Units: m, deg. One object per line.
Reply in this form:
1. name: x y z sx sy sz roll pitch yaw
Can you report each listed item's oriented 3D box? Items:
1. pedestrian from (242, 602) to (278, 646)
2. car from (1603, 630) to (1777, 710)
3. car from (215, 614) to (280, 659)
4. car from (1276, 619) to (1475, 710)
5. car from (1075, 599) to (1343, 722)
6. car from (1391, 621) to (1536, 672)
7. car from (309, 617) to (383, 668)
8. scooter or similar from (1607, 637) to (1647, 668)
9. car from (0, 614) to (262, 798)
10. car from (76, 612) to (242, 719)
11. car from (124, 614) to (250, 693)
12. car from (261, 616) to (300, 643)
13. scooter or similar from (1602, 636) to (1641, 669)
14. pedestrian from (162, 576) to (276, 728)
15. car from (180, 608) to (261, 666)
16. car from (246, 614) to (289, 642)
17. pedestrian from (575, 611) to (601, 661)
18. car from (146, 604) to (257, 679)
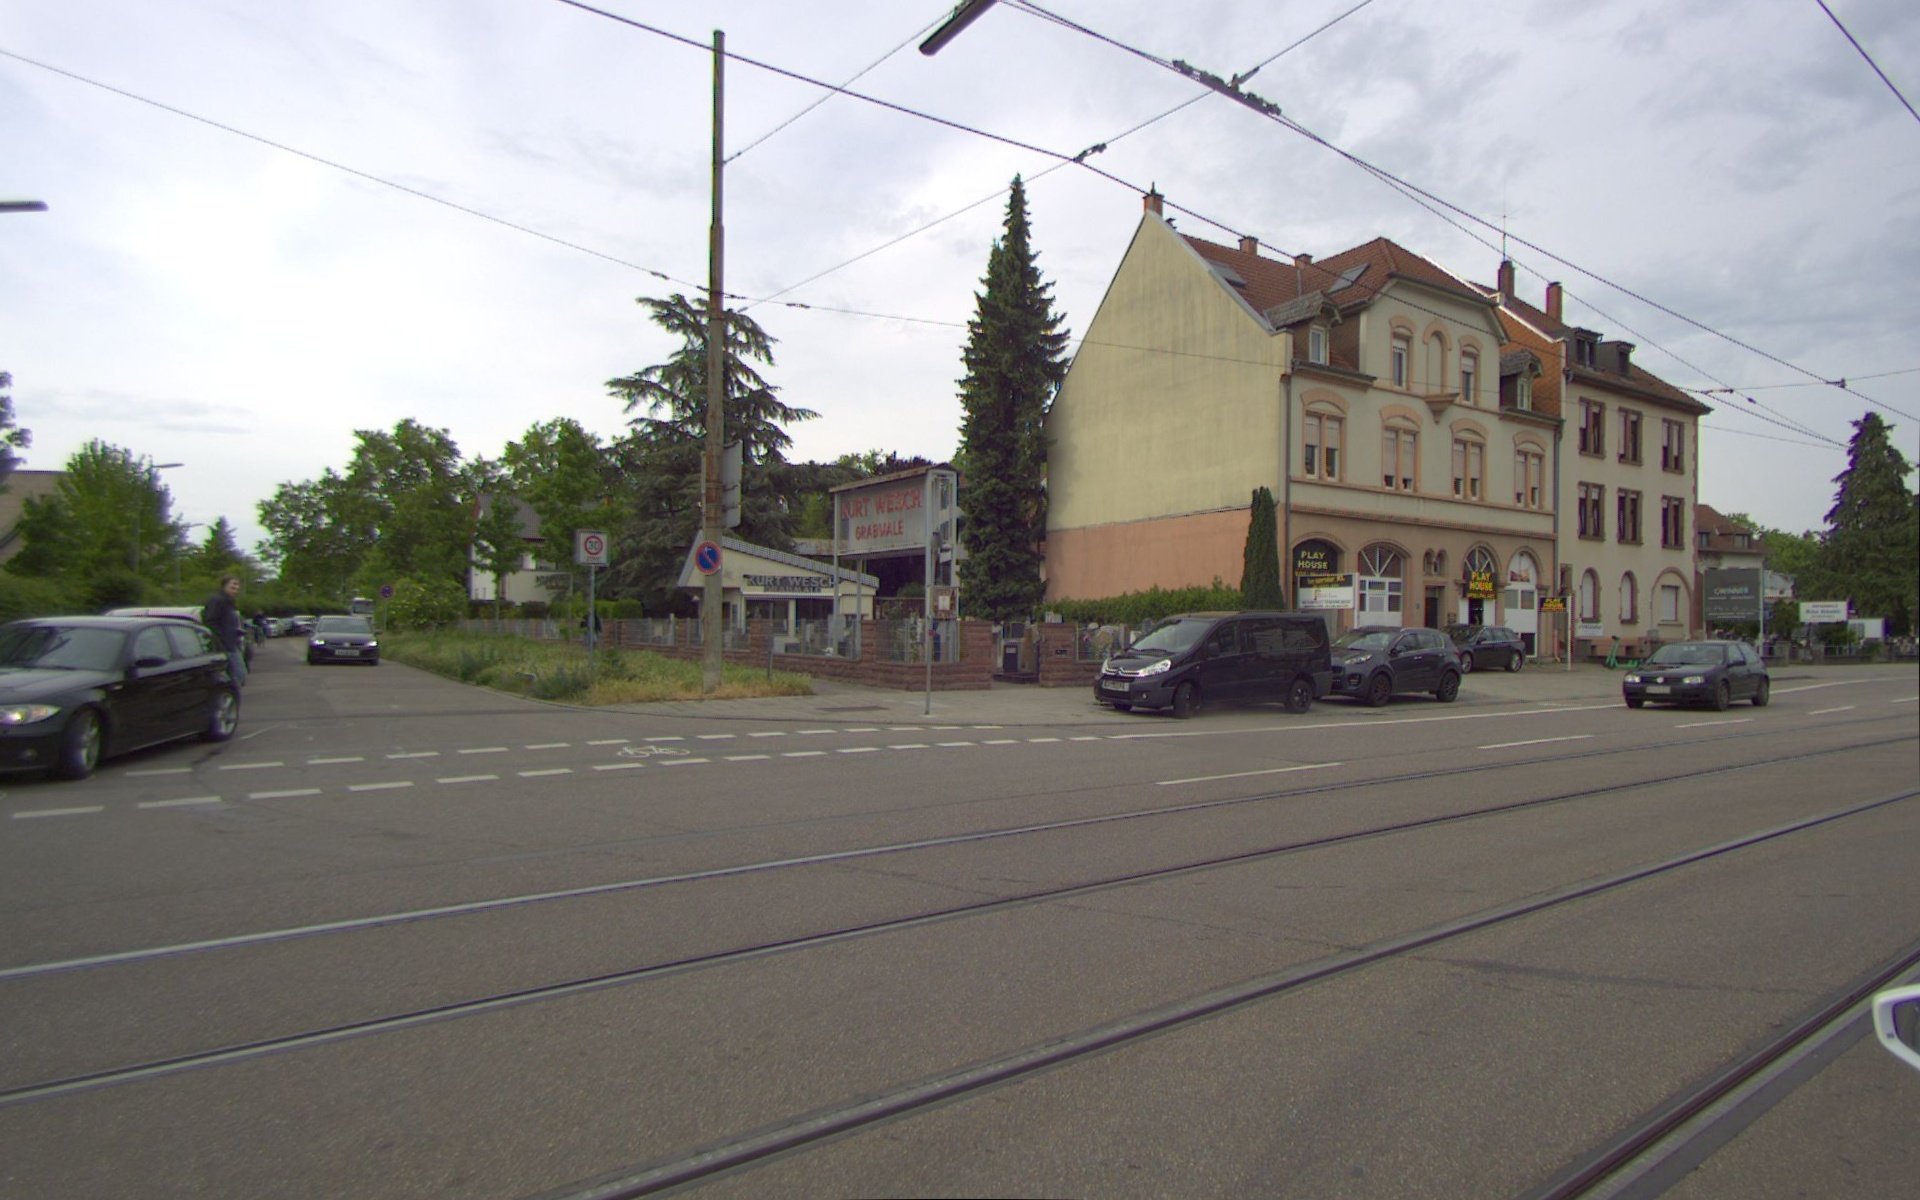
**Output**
1. pedestrian: -33.319 1.146 47.823 1.199 2.040 1.182 -1 -2 43
2. car: 15.612 1.456 21.428 4.100 1.550 1.779 2 -4 -35
3. car: -27.383 1.392 38.698 1.861 1.582 3.963 2 -1 -33
4. car: 9.400 1.362 22.612 4.489 1.773 2.024 1 1 -35
5. car: 4.811 1.091 19.097 5.130 2.040 1.975 2 0 -33
6. car: 16.250 1.487 32.344 4.849 1.512 1.982 2 -1 -33
7. car: -18.682 1.266 30.630 1.796 1.470 3.954 2 -2 -31
8. scooter or similar: 24.767 1.937 37.311 1.157 1.116 0.527 1 -1 29
9. car: -8.704 0.866 9.774 1.758 1.387 4.101 2 -1 -14
10. car: -12.604 0.932 16.035 1.707 1.441 3.982 -1 0 -34
11. car: -15.201 0.990 19.927 1.762 1.367 4.008 2 -1 -35
12. car: -54.329 2.333 80.380 1.973 2.040 3.975 2 -1 -25
13. scooter or similar: 24.175 1.913 36.722 1.157 1.116 0.527 1 -1 29
14. pedestrian: -9.411 0.648 12.805 1.047 1.849 0.800 2 -1 -31
15. car: -23.844 1.160 32.516 1.869 1.704 3.801 2 -1 -33
16. car: -52.555 2.108 76.267 1.973 2.040 3.975 2 -1 -25
17. pedestrian: -13.506 1.298 36.450 0.752 1.797 0.631 2 0 -29
18. car: -18.559 0.960 24.649 1.982 1.673 3.958 2 -1 -37
